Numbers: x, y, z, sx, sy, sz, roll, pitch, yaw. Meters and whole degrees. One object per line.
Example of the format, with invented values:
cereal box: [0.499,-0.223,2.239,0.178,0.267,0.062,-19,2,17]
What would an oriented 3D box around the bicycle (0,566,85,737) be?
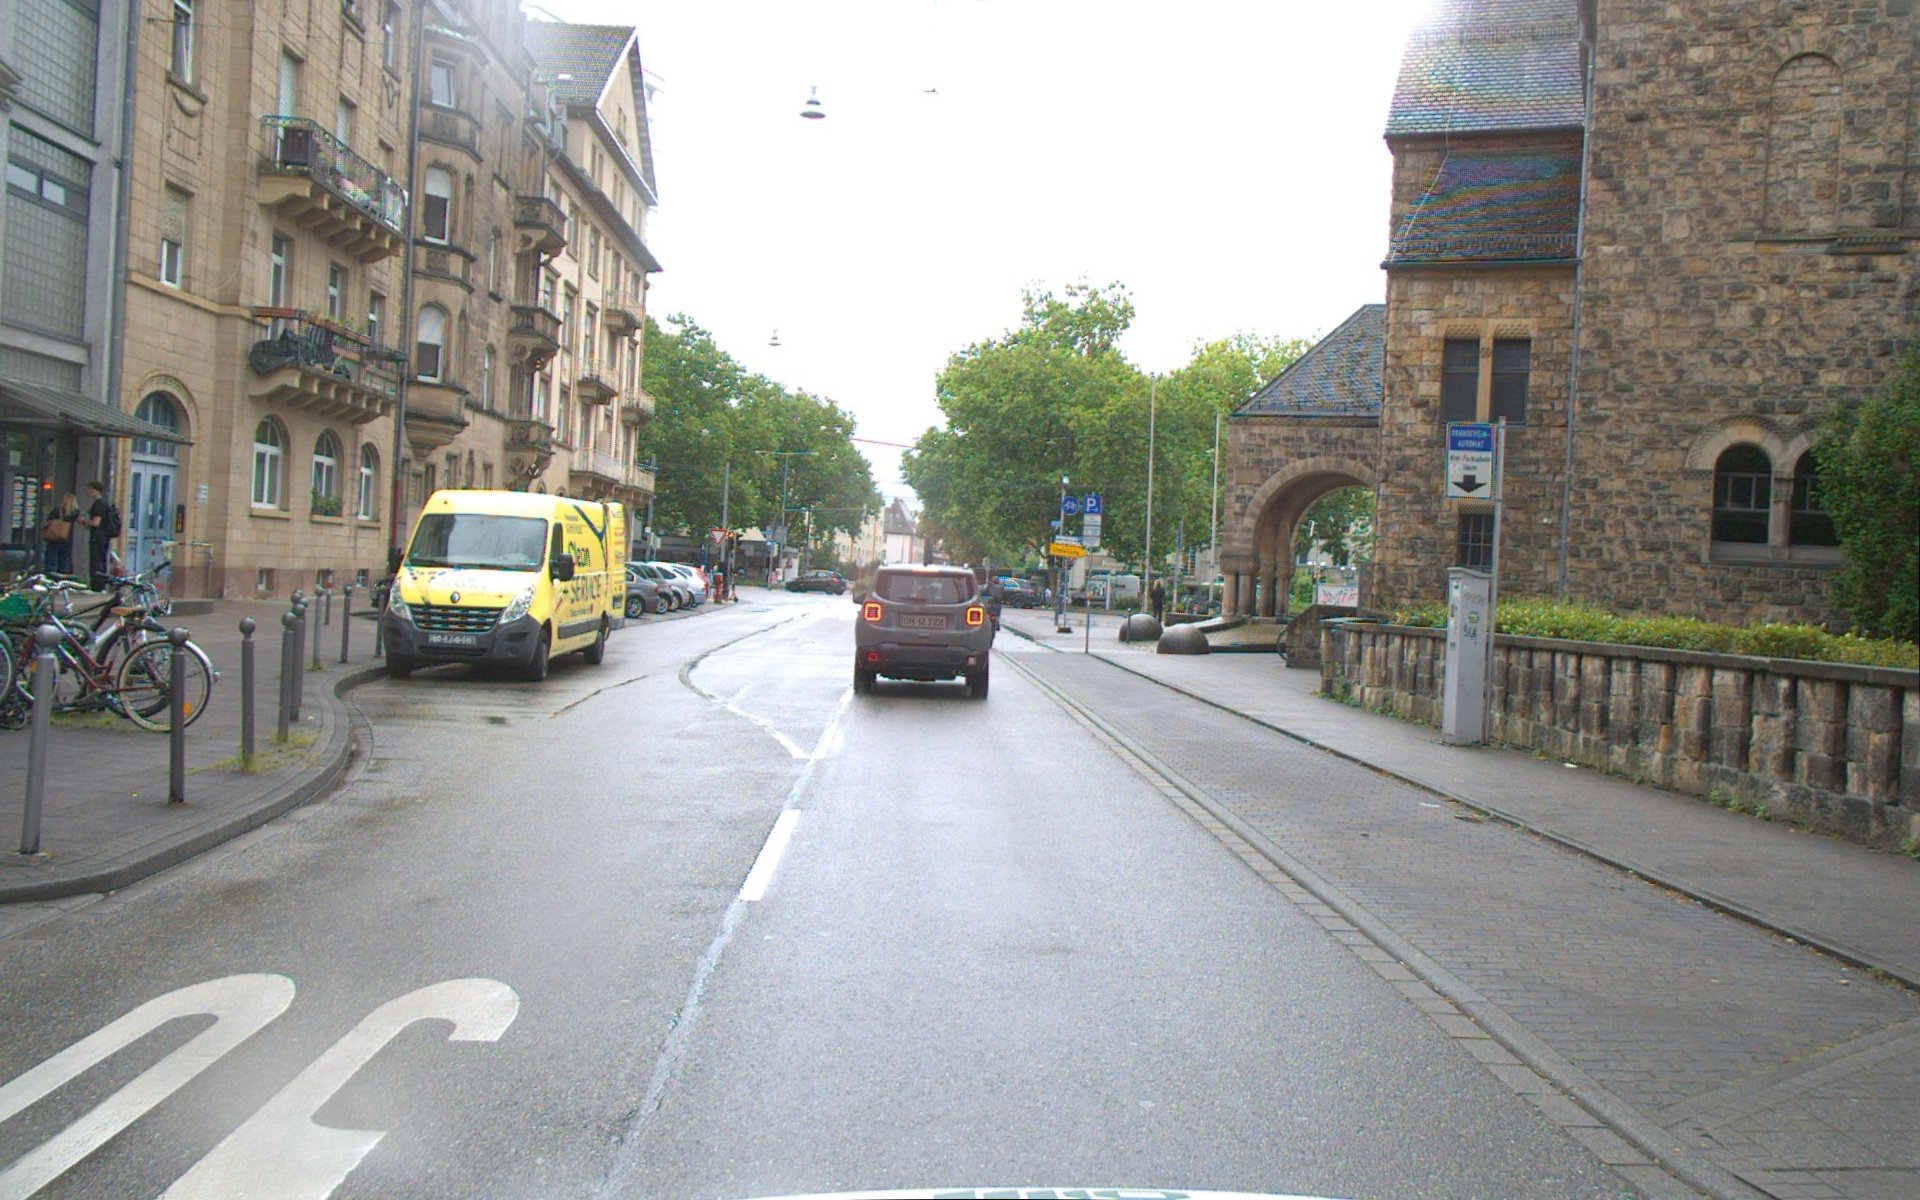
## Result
bicycle: [-7.152,0.293,11.412,1.876,1.116,0.506,4,0,-2]

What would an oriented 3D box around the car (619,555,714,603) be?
car: [-11.290,-0.794,63.638,3.219,1.585,1.516,4,0,-36]

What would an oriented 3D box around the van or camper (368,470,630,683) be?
van or camper: [-6.325,-0.229,23.680,2.079,2.575,6.871,-1,-1,-2]

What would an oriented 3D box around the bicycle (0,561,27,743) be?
bicycle: [-7.158,0.280,10.790,1.765,1.187,0.568,4,0,2]

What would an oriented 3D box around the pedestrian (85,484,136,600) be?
pedestrian: [-13.502,-0.915,26.302,0.652,1.787,0.790,2,1,-26]

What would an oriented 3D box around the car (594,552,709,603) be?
car: [-11.249,-0.817,60.334,3.699,1.585,1.651,4,0,-36]

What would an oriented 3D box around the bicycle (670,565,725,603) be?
bicycle: [-10.664,-0.640,67.160,2.080,1.469,0.535,2,1,-23]

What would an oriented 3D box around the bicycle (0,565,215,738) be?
bicycle: [-6.644,0.343,12.030,2.090,1.116,0.594,4,0,-2]

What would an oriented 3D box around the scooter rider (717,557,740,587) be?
scooter rider: [-10.245,-1.238,73.223,0.862,1.241,0.983,3,-1,-2]

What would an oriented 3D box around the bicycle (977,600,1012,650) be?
bicycle: [0.792,0.570,38.539,0.690,1.072,1.812,2,1,-2]

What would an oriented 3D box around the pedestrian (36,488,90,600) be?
pedestrian: [-14.102,-0.872,26.017,0.652,1.704,0.790,2,1,-26]

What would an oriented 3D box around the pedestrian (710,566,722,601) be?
pedestrian: [-11.379,-0.759,77.161,0.458,1.613,0.752,2,0,-3]

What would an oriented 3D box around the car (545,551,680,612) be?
car: [-10.783,-0.559,51.417,3.628,1.585,1.784,4,0,-39]

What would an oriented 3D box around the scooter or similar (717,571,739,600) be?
scooter or similar: [-10.265,-0.618,73.203,0.834,1.233,0.986,2,-1,-2]

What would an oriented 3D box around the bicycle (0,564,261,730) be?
bicycle: [-6.636,0.353,12.857,2.074,1.116,0.594,4,0,-2]

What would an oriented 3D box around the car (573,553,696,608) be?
car: [-10.741,-0.641,54.618,3.468,1.544,1.862,4,0,-36]

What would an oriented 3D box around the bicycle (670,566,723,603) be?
bicycle: [-10.837,-0.627,68.146,2.063,1.469,0.487,2,1,-23]

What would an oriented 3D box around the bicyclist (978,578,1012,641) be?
bicyclist: [0.808,0.205,38.536,0.691,1.428,1.171,2,1,-2]

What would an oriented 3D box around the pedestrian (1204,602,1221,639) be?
pedestrian: [11.917,0.962,78.061,0.667,1.741,0.693,2,1,16]

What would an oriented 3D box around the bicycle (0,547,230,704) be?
bicycle: [-7.405,0.235,14.351,1.794,1.234,0.623,5,-2,-38]

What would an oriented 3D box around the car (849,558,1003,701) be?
car: [-0.535,0.343,22.872,1.861,1.700,4.503,2,1,-3]

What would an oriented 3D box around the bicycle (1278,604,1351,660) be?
bicycle: [7.578,0.675,35.340,1.456,1.121,0.363,2,1,19]

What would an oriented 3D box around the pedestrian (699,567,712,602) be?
pedestrian: [-11.818,-0.709,76.880,0.458,1.613,0.659,2,0,-3]

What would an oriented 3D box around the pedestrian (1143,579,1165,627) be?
pedestrian: [7.144,0.094,60.894,0.677,1.741,0.684,2,0,-2]

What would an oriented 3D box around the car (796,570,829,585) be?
car: [-16.752,-2.584,187.893,3.396,1.527,1.543,2,1,9]

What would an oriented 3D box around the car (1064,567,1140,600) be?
car: [11.154,-1.276,130.252,5.782,2.375,2.060,2,1,1]

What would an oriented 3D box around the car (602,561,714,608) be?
car: [-10.544,-0.533,57.742,3.385,1.339,1.757,4,0,-36]

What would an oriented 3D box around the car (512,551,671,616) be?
car: [-10.166,-0.443,45.768,3.822,1.505,1.856,4,0,-43]
